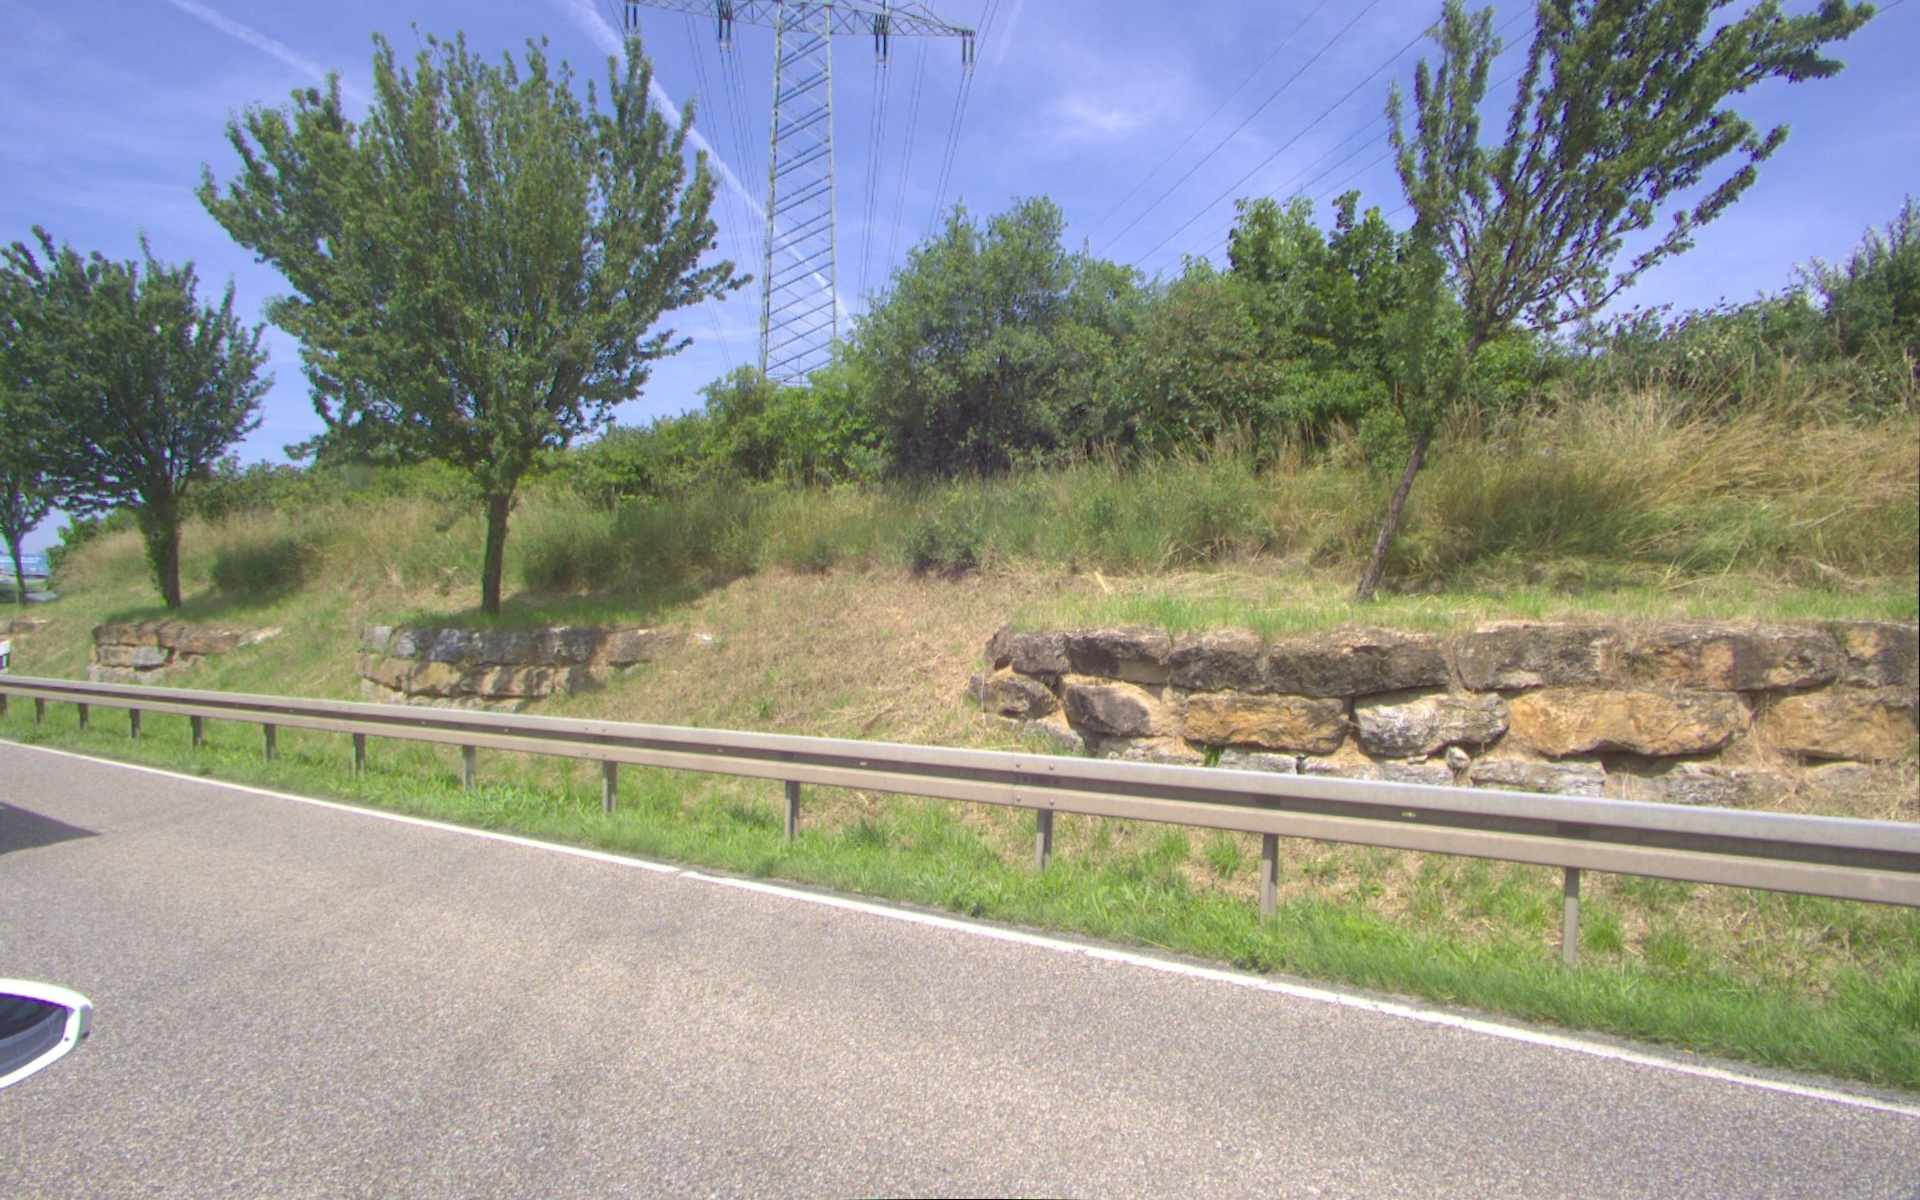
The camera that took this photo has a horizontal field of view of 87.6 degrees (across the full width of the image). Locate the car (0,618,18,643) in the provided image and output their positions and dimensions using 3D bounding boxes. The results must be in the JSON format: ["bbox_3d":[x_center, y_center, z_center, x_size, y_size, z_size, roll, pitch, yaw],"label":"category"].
[{"bbox_3d":[-58.538,1.817,59.047,1.688,1.530,3.987,-1,-1,25],"label":"car"}]
